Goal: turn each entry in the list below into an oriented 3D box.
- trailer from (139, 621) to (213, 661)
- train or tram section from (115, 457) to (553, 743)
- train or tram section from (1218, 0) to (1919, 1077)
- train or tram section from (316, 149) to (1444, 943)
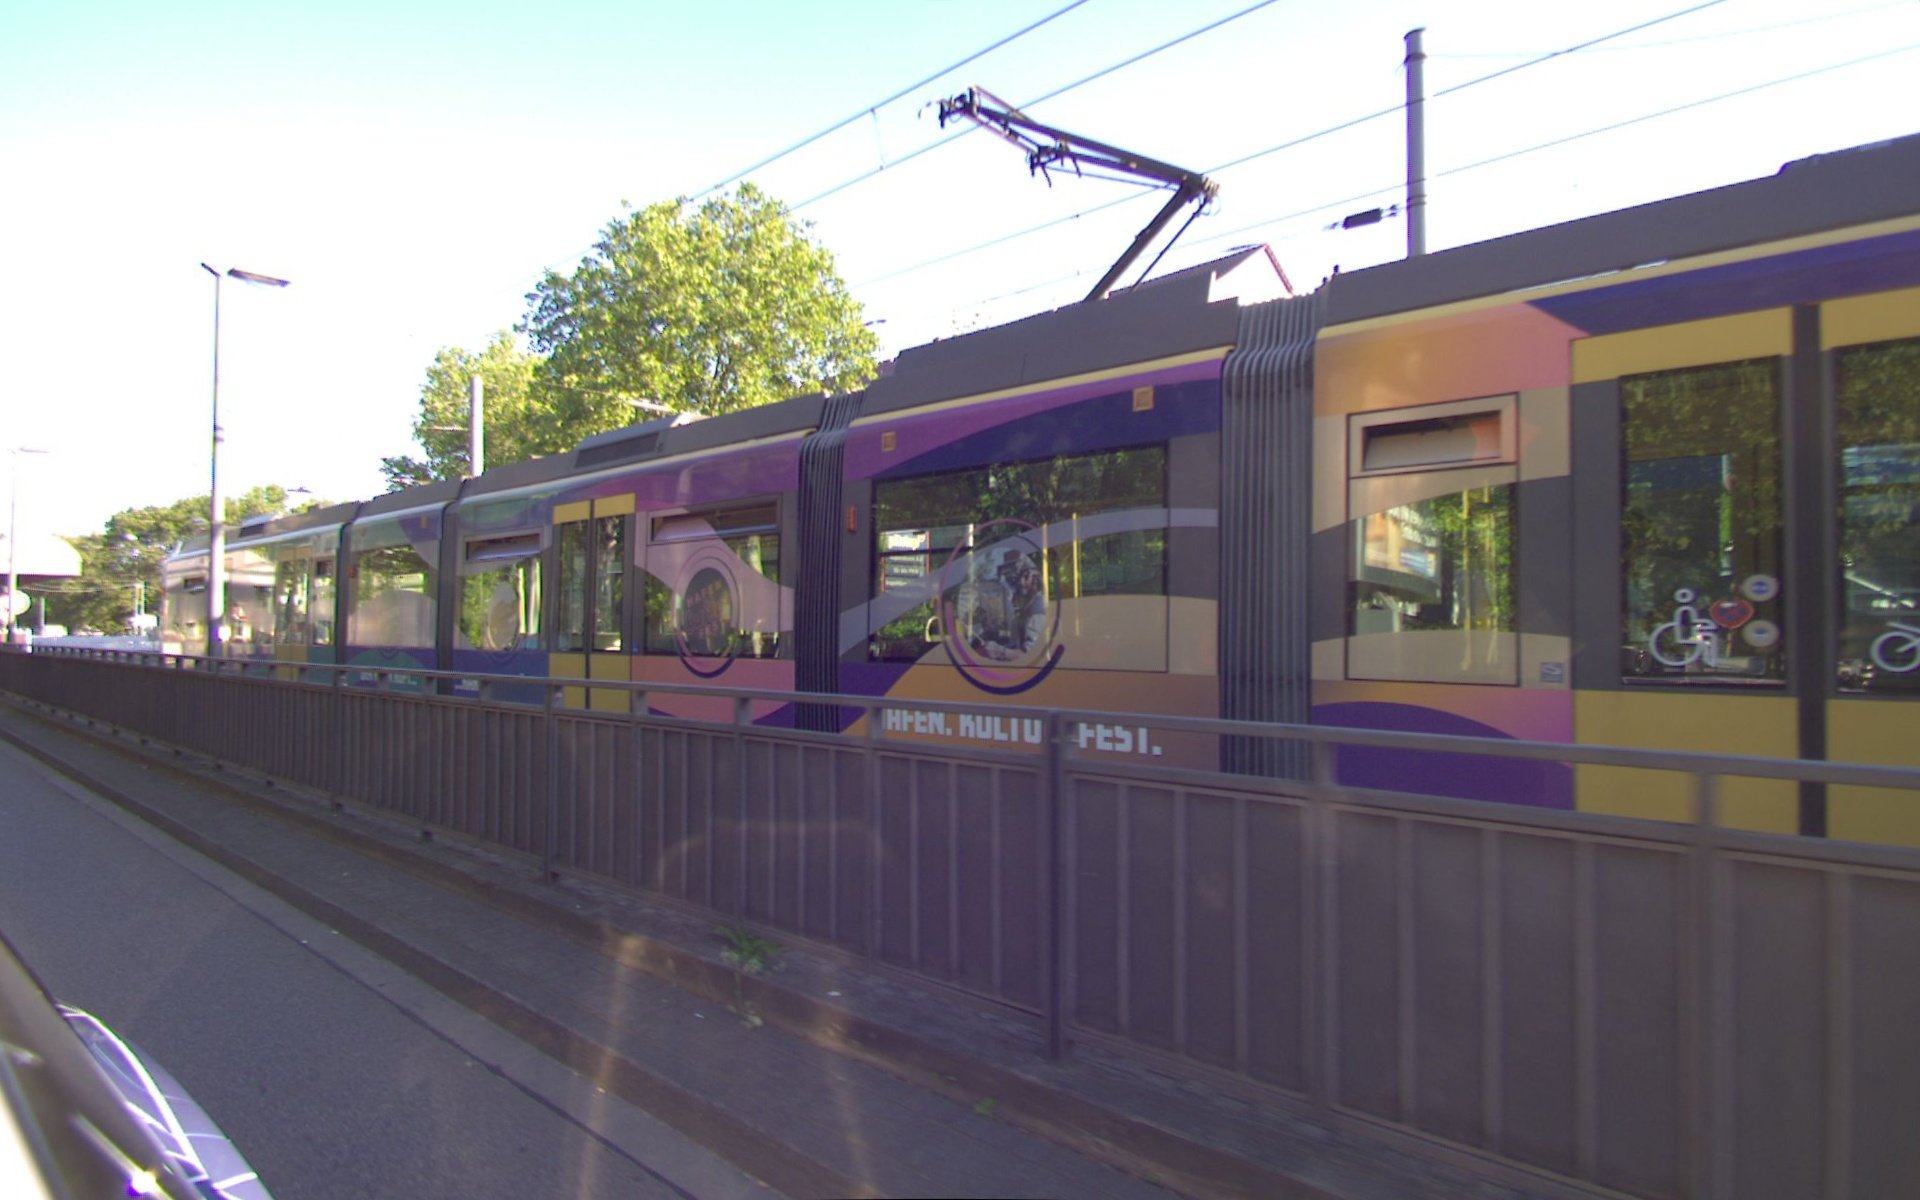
[{"bbox_3d":[-43.872,2.251,56.636,4.334,2.131,1.977,0,-2,34],"label":"trailer"},{"bbox_3d":[-11.903,0.163,18.092,13.389,3.560,2.820,-2,-3,41],"label":"train or tram section"},{"bbox_3d":[7.063,-0.354,1.308,13.327,3.546,2.613,-2,-3,41],"label":"train or tram section"},{"bbox_3d":[-2.543,-0.103,9.790,12.778,3.576,2.700,-2,-3,41],"label":"train or tram section"}]
